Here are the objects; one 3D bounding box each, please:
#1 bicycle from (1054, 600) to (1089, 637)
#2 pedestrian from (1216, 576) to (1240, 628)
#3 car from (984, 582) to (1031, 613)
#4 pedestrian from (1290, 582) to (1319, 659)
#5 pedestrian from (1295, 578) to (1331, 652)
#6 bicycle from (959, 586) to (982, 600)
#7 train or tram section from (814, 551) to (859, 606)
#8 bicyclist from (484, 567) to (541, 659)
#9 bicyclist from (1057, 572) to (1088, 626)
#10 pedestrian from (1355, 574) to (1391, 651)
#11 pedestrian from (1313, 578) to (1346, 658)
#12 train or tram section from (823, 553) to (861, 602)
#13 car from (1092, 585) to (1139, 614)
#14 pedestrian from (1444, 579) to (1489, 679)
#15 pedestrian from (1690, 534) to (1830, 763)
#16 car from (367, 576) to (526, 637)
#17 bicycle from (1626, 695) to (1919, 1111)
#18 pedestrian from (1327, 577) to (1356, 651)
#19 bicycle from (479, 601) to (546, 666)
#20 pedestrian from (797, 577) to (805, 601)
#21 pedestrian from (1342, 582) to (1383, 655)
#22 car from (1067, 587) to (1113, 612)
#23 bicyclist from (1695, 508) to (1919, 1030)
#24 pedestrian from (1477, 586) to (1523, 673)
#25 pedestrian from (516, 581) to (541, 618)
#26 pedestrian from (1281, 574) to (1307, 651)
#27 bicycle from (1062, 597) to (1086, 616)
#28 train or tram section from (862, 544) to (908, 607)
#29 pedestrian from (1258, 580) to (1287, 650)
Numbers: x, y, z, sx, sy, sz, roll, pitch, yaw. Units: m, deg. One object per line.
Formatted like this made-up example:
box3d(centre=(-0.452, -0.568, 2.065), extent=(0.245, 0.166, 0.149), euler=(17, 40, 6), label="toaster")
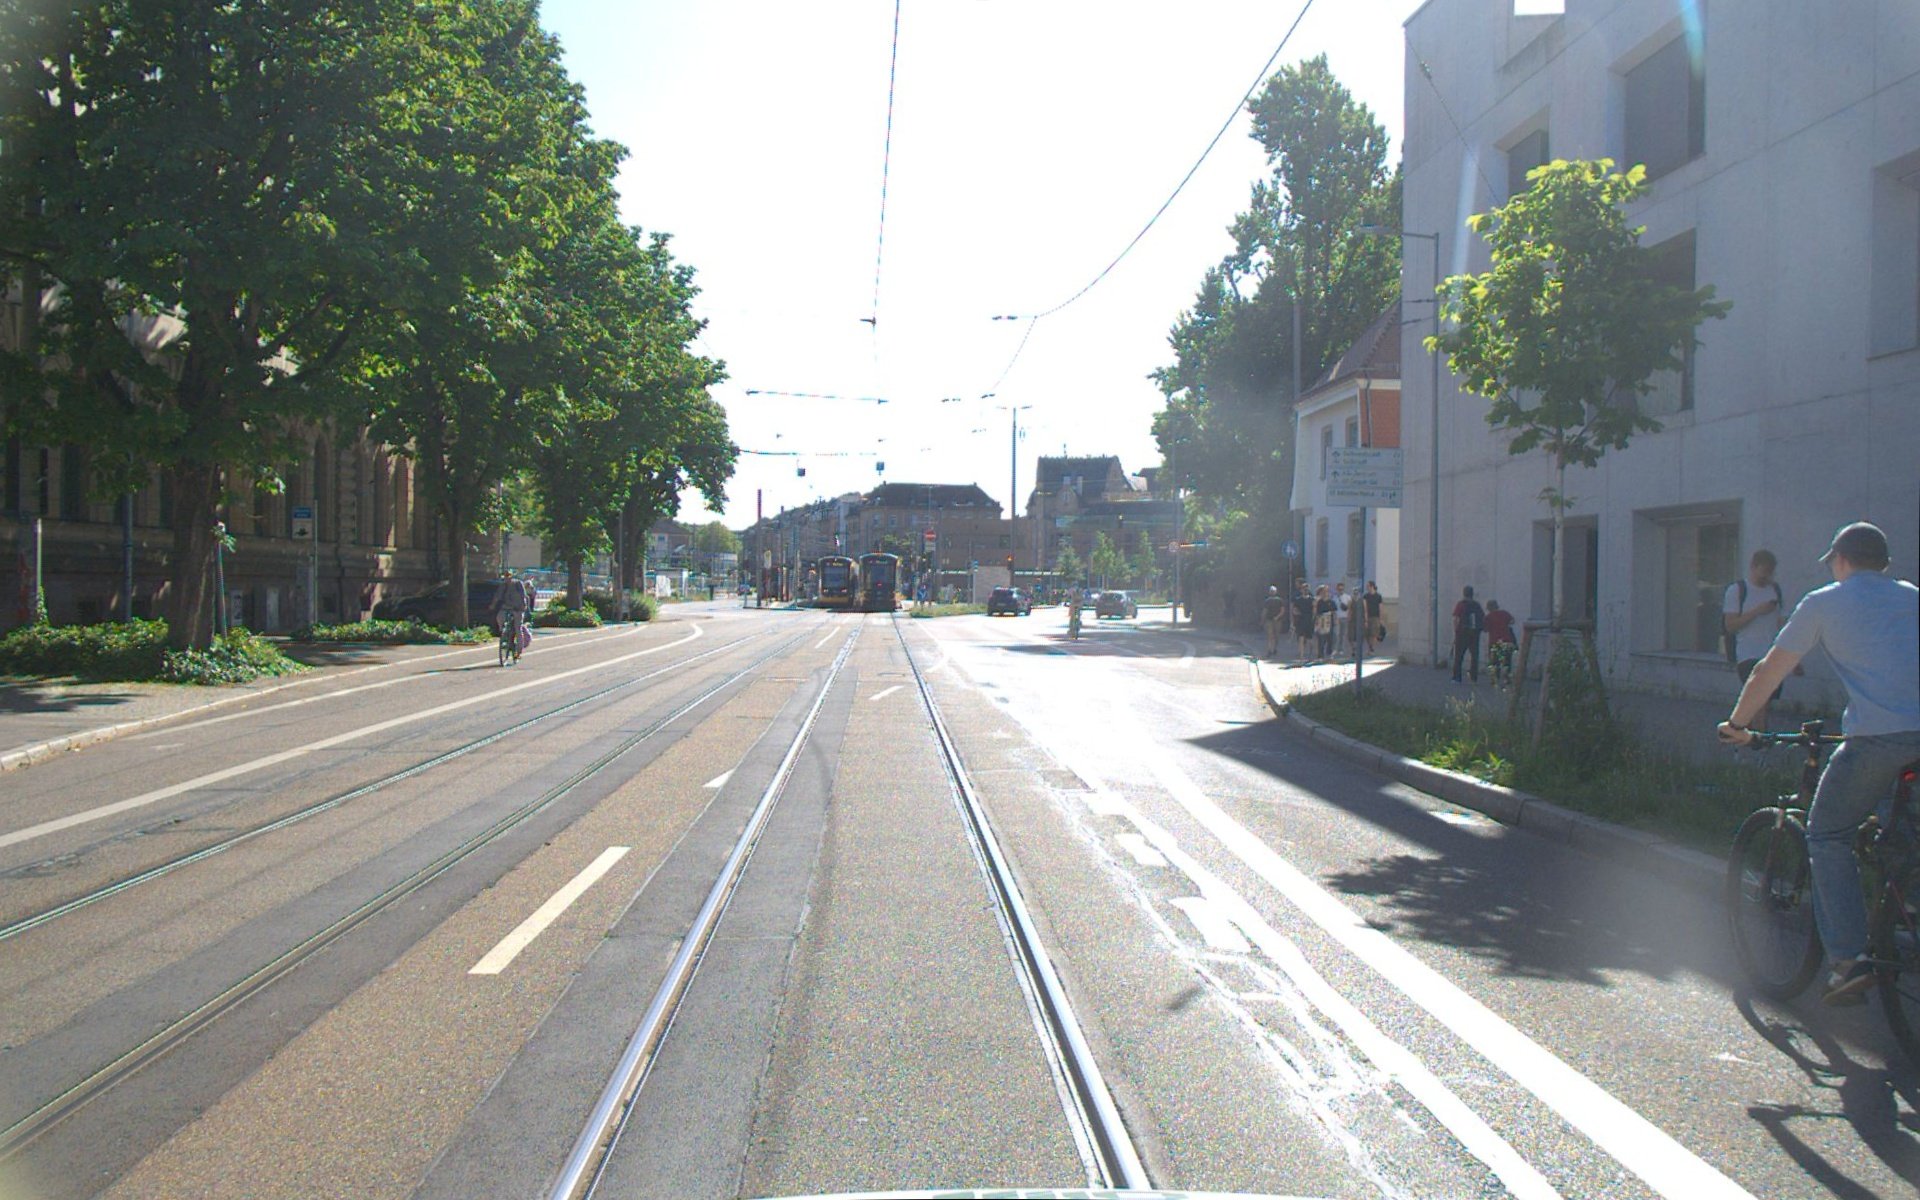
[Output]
box3d(centre=(3.583, 0.572, 53.021), extent=(0.690, 1.124, 1.718), euler=(2, 1, 17), label="bicycle")
box3d(centre=(10.124, 0.083, 62.530), extent=(0.625, 1.937, 1.134), euler=(-2, 0, -2), label="pedestrian")
box3d(centre=(2.682, -0.157, 92.496), extent=(1.751, 1.632, 3.715), euler=(2, 1, 16), label="car")
box3d(centre=(8.056, 0.468, 38.690), extent=(0.484, 1.758, 0.817), euler=(-4, 0, 7), label="pedestrian")
box3d(centre=(8.980, 0.377, 42.061), extent=(0.519, 1.805, 0.733), euler=(-4, 0, 38), label="pedestrian")
box3d(centre=(0.853, -0.553, 135.602), extent=(1.896, 1.122, 0.598), euler=(0, 1, -5), label="bicycle")
box3d(centre=(-8.752, -1.570, 118.626), extent=(2.687, 3.715, 13.780), euler=(1, 1, -2), label="train or tram section")
box3d(centre=(-8.405, 0.234, 31.101), extent=(0.672, 1.673, 1.238), euler=(-1, 0, 1), label="bicyclist")
box3d(centre=(3.603, -0.040, 53.013), extent=(0.690, 1.704, 1.102), euler=(2, 1, 17), label="bicyclist")
box3d(centre=(10.097, 0.303, 40.449), extent=(0.643, 1.833, 0.732), euler=(-3, 0, 5), label="pedestrian")
box3d(centre=(8.681, 0.410, 38.837), extent=(0.633, 1.793, 0.957), euler=(-4, 0, 12), label="pedestrian")
box3d(centre=(-9.302, -1.790, 131.774), extent=(2.687, 3.715, 12.538), euler=(1, 1, -3), label="train or tram section")
box3d(centre=(8.841, -0.024, 94.051), extent=(1.752, 1.537, 3.713), euler=(2, 1, 20), label="car")
box3d(centre=(8.380, 0.469, 27.394), extent=(0.507, 1.628, 0.764), euler=(0, 0, 0), label="pedestrian")
box3d(centre=(6.819, 0.394, 14.140), extent=(0.670, 1.882, 0.955), euler=(-1, 0, -4), label="pedestrian")
box3d(centre=(-14.341, 0.185, 46.229), extent=(3.945, 1.577, 1.859), euler=(1, 0, -31), label="car")
box3d(centre=(3.239, 0.981, 6.024), extent=(0.723, 1.113, 2.111), euler=(2, 0, -1), label="bicycle")
box3d(centre=(9.590, 0.342, 41.543), extent=(0.597, 1.805, 0.653), euler=(-4, 0, 13), label="pedestrian")
box3d(centre=(-8.395, 0.617, 31.122), extent=(0.672, 1.144, 1.932), euler=(-1, 0, 1), label="bicycle")
box3d(centre=(-12.496, -0.872, 129.924), extent=(0.614, 1.859, 0.662), euler=(0, 0, -4), label="pedestrian")
box3d(centre=(9.505, 0.429, 39.057), extent=(0.811, 1.632, 0.894), euler=(-4, 0, 12), label="pedestrian")
box3d(centre=(9.071, -0.021, 115.210), extent=(1.671, 1.672, 3.703), euler=(2, 1, 32), label="car")
box3d(centre=(3.252, 0.562, 5.957), extent=(0.723, 1.715, 0.971), euler=(2, 0, -1), label="bicyclist")
box3d(centre=(8.914, 0.478, 27.328), extent=(0.507, 1.429, 0.764), euler=(0, 0, 0), label="pedestrian")
box3d(centre=(-17.869, -0.033, 68.466), extent=(0.909, 1.531, 0.700), euler=(0, 0, -25), label="pedestrian")
box3d(centre=(8.583, 0.323, 42.549), extent=(0.507, 1.935, 0.612), euler=(-3, 0, 5), label="pedestrian")
box3d(centre=(6.620, 0.374, 95.707), extent=(0.690, 1.073, 2.313), euler=(3, 2, 22), label="bicycle")
box3d(centre=(-4.848, -1.555, 105.023), extent=(2.687, 3.715, 13.777), euler=(1, 1, -3), label="train or tram section")
box3d(centre=(8.035, 0.378, 42.552), extent=(0.593, 1.777, 0.718), euler=(-3, 0, 5), label="pedestrian")
